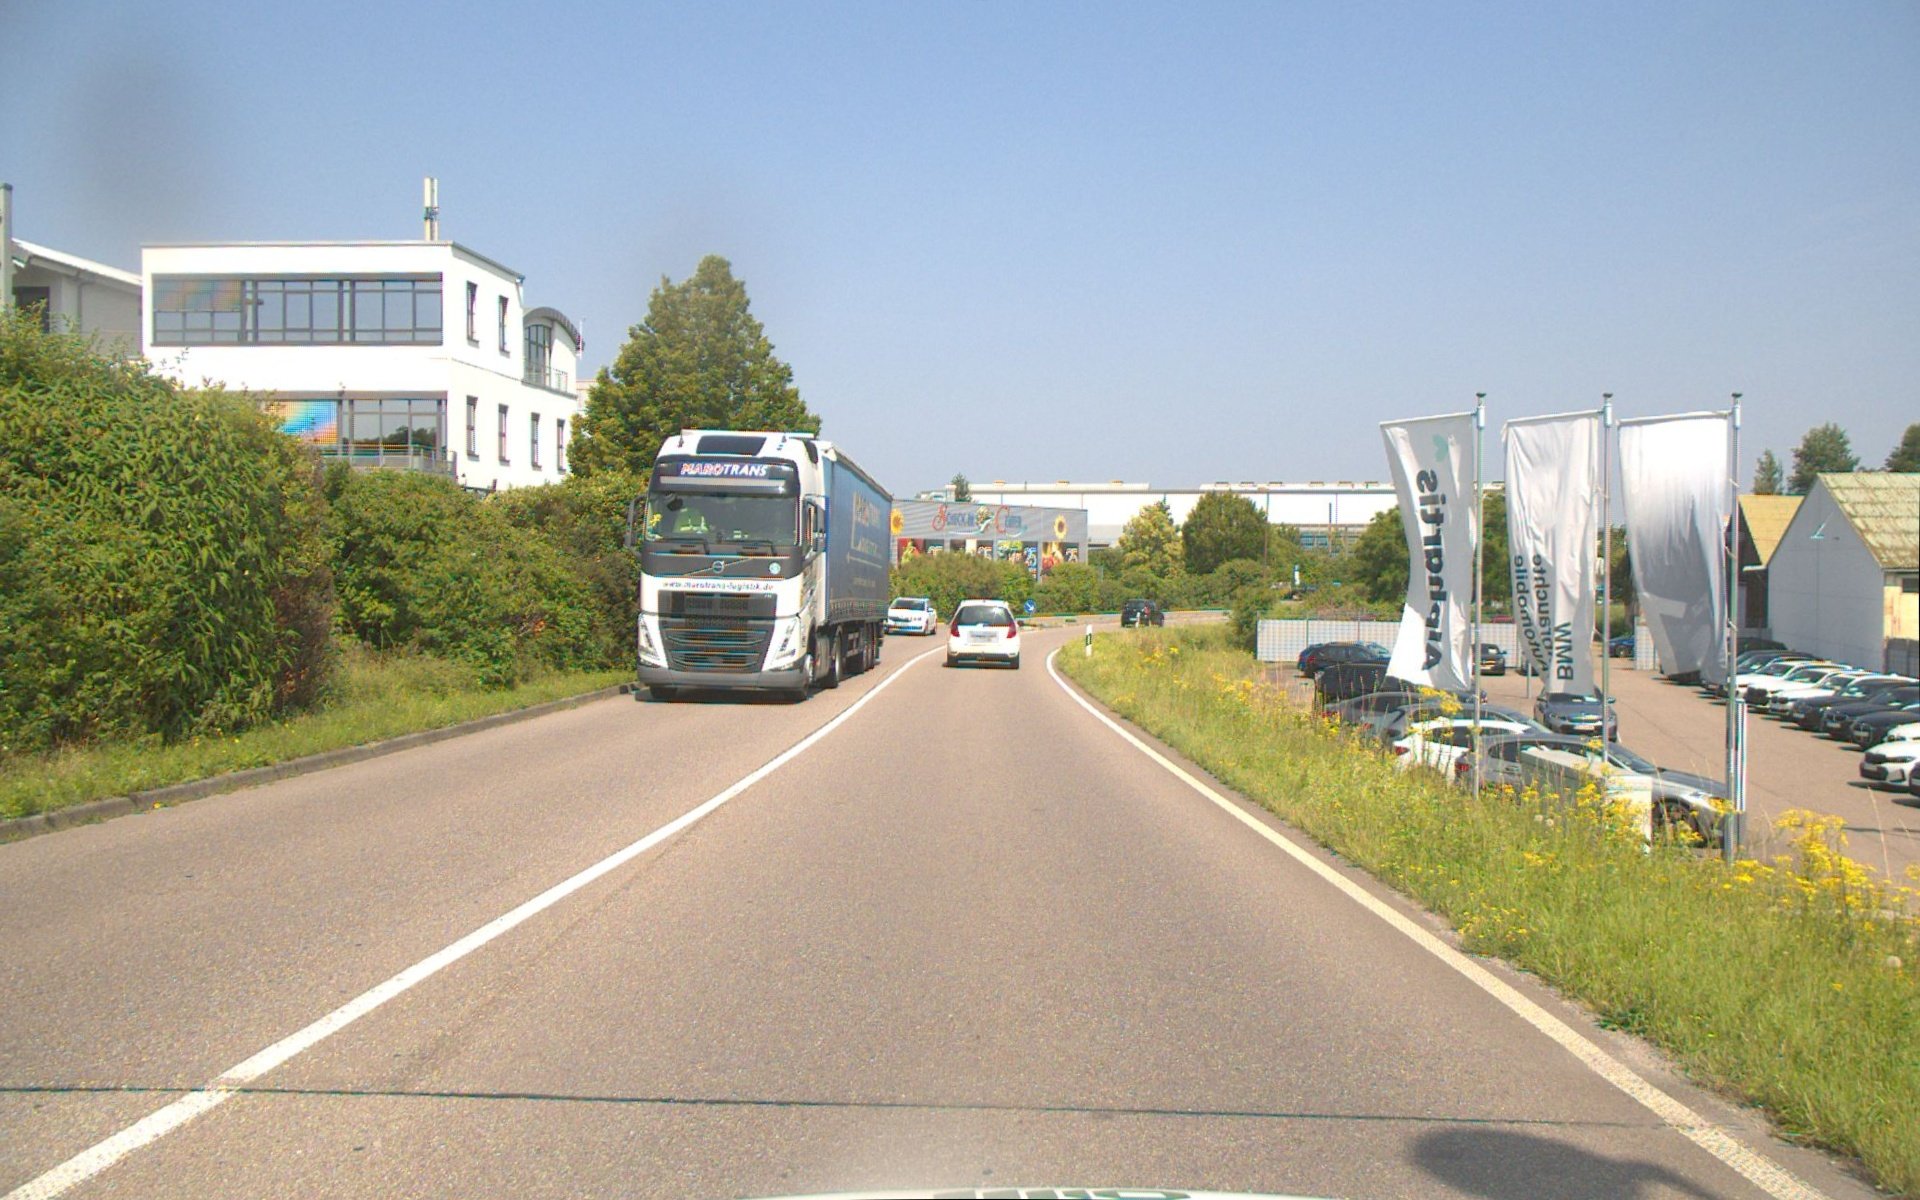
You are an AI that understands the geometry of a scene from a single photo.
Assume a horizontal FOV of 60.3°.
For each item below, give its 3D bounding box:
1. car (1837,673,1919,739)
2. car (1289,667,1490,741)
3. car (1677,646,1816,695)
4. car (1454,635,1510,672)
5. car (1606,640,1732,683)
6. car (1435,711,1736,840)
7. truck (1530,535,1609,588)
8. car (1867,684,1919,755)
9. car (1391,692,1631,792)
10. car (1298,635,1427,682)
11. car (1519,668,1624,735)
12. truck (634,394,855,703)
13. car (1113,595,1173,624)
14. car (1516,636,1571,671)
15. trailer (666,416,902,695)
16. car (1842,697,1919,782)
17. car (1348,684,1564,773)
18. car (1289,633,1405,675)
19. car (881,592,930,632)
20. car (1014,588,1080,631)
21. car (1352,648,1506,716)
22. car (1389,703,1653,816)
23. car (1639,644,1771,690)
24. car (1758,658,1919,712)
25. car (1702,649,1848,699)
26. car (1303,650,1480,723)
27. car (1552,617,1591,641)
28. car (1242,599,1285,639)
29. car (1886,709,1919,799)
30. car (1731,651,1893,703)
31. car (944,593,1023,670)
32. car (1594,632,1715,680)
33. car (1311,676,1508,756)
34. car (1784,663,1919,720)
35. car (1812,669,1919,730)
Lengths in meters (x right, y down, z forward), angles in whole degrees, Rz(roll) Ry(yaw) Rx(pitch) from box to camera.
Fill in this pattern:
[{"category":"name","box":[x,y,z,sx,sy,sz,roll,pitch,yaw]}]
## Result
[{"category":"car","box":[24.970,2.674,41.989,4.515,1.550,1.930,0,0,-6]},{"category":"car","box":[10.765,2.568,41.562,4.544,1.550,1.852,1,0,32]},{"category":"car","box":[28.419,2.530,59.846,4.246,1.603,1.907,0,1,-11]},{"category":"car","box":[23.798,2.403,75.317,1.814,1.561,4.640,1,0,25]},{"category":"car","box":[27.966,2.405,65.329,4.246,1.549,1.907,0,1,-11]},{"category":"car","box":[9.650,2.651,25.607,4.085,1.550,1.685,1,0,34]},{"category":"truck","box":[49.745,-3.097,135.016,6.646,4.101,2.854,1,0,-36]},{"category":"car","box":[24.254,2.807,39.241,4.515,1.550,1.930,0,0,-6]},{"category":"car","box":[10.492,2.649,31.527,4.079,1.550,1.854,1,0,28]},{"category":"car","box":[15.666,2.252,64.408,4.540,1.633,1.854,1,1,29]},{"category":"car","box":[16.508,2.700,44.860,2.090,1.483,4.535,1,0,13]},{"category":"truck","box":[-3.229,-0.721,26.301,2.460,4.332,6.114,0,0,2]},{"category":"car","box":[10.038,0.510,90.418,1.793,1.496,4.404,1,0,27]},{"category":"car","box":[26.187,2.386,74.141,1.954,1.422,3.997,1,0,25]},{"category":"trailer","box":[-3.031,-0.704,33.285,2.615,4.315,14.569,1,0,2]},{"category":"car","box":[20.555,2.821,33.524,4.332,1.550,1.933,0,0,5]},{"category":"car","box":[10.484,2.663,34.999,4.080,1.550,1.853,1,0,29]},{"category":"car","box":[16.560,2.272,70.840,4.544,1.524,1.852,1,2,32]},{"category":"car","box":[-2.131,0.465,65.583,1.791,1.496,4.409,1,0,-1]},{"category":"car","box":[4.337,0.461,81.802,1.953,2.049,3.998,1,0,23]},{"category":"car","box":[14.290,2.474,50.490,4.153,1.730,1.911,1,2,37]},{"category":"car","box":[9.683,2.702,28.615,4.080,1.550,1.748,1,0,29]},{"category":"car","box":[28.246,2.516,62.730,4.246,1.603,1.907,0,1,-11]},{"category":"car","box":[27.401,2.614,51.195,4.556,1.550,1.909,0,0,-6]},{"category":"car","box":[28.149,2.535,57.178,4.246,1.549,1.907,0,1,-11]},{"category":"car","box":[12.280,2.430,47.206,4.547,1.730,1.851,1,2,34]},{"category":"car","box":[37.793,1.765,102.207,1.954,1.422,3.997,1,0,25]},{"category":"car","box":[16.065,0.986,87.375,1.951,2.049,4.003,1,0,14]},{"category":"car","box":[19.617,2.844,30.210,4.334,1.550,1.932,0,0,0]},{"category":"car","box":[27.923,2.505,54.235,4.516,1.549,1.907,0,1,-11]},{"category":"car","box":[0.536,0.723,40.283,1.745,1.631,3.893,4,1,0]},{"category":"car","box":[28.340,2.257,67.539,4.246,1.836,1.907,0,1,-11]},{"category":"car","box":[10.435,2.661,38.457,4.080,1.550,1.853,1,0,29]},{"category":"car","box":[26.210,2.626,47.842,3.920,1.550,1.756,0,0,-6]},{"category":"car","box":[25.756,2.683,45.105,4.230,1.550,1.794,0,0,-6]}]
